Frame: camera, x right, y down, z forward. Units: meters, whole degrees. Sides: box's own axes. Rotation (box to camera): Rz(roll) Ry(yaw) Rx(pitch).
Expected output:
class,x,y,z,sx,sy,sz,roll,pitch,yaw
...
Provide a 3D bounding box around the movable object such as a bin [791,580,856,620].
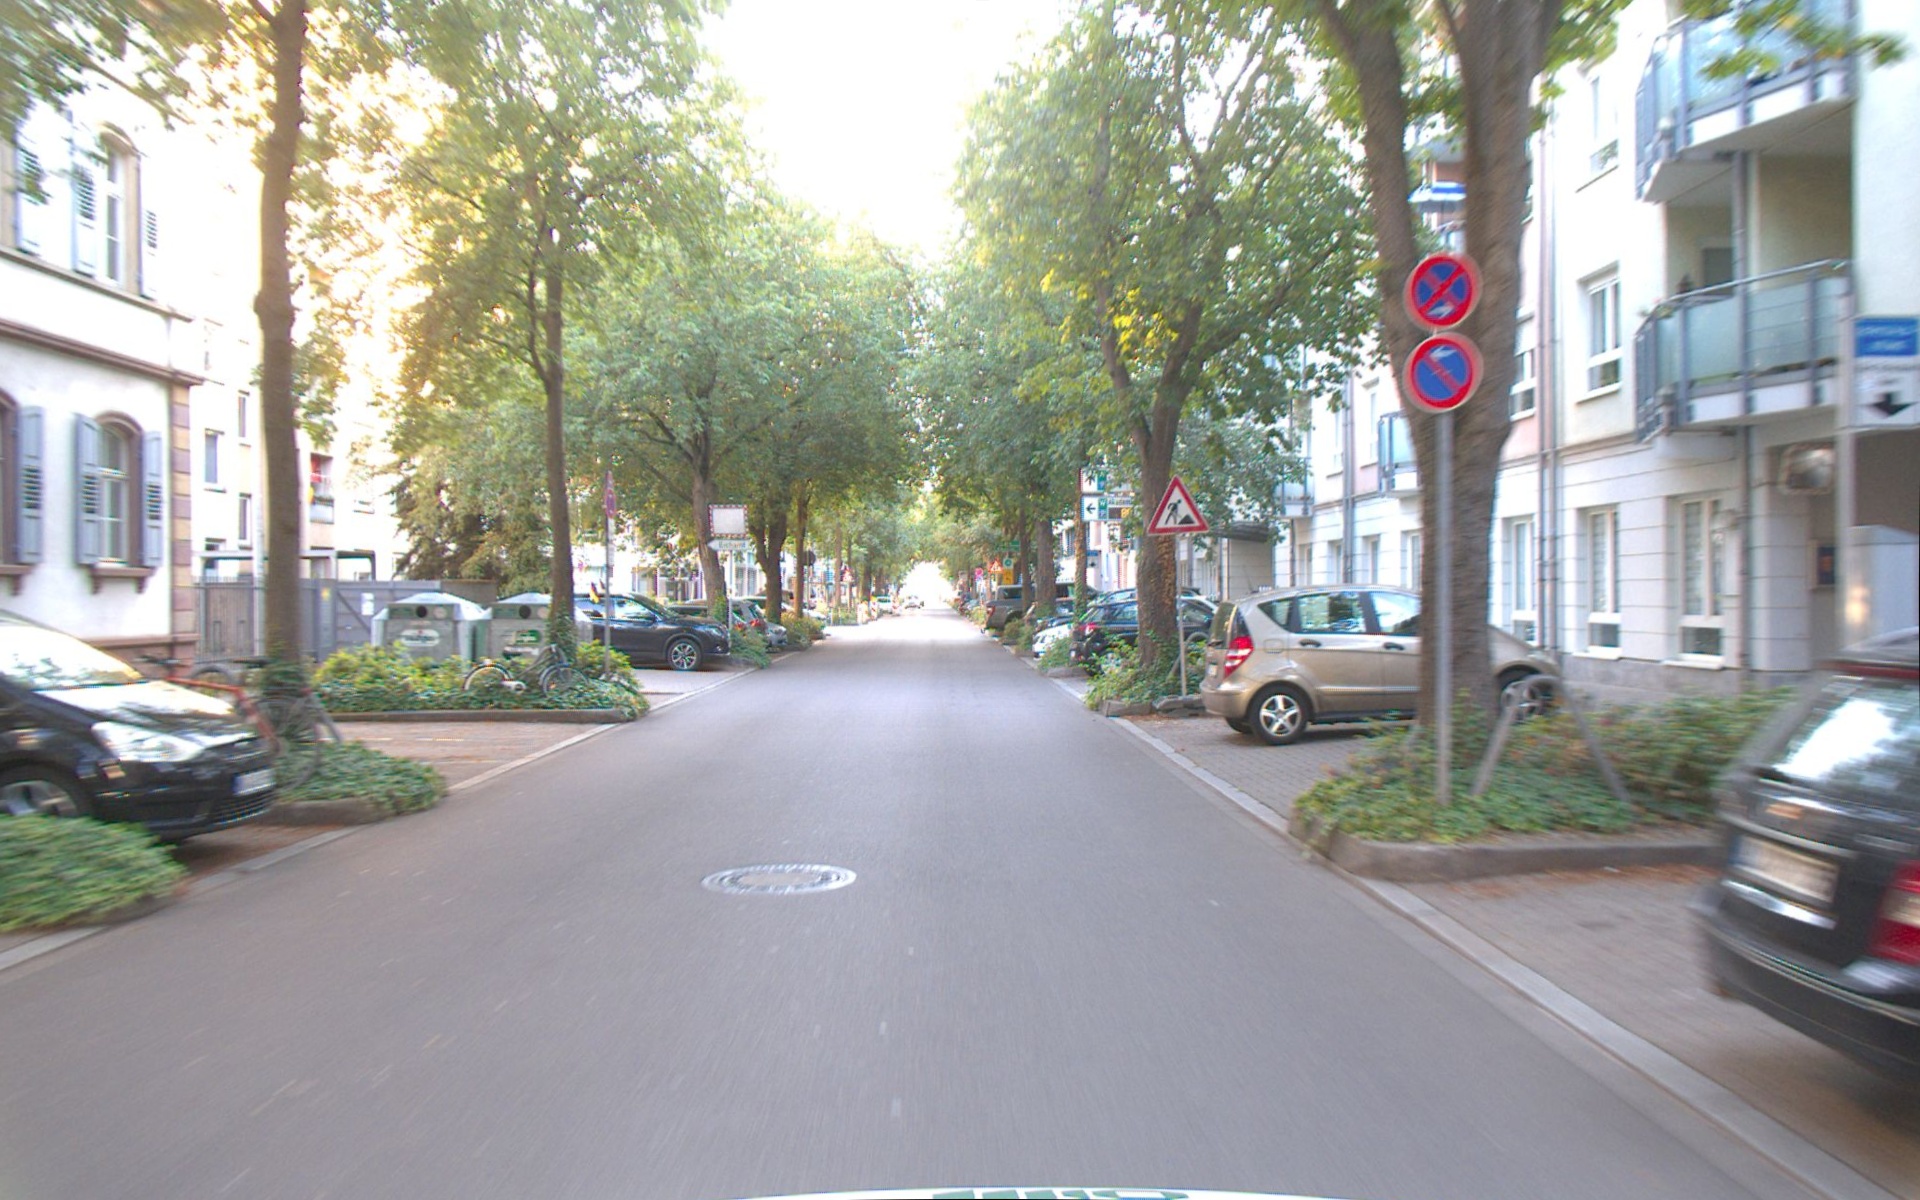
class,x,y,z,sx,sy,sz,roll,pitch,yaw
movable object such as a bin,-8.581,-0.029,103.617,3.969,2.425,2.780,-1,0,-7

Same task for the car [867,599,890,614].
class,x,y,z,sx,sy,sz,roll,pitch,yaw
car,-7.337,0.540,148.759,1.955,1.311,3.996,0,0,-5

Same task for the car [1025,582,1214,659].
class,x,y,z,sx,sy,sz,roll,pitch,yaw
car,4.123,0.511,43.184,4.553,1.645,2.008,-4,0,-5

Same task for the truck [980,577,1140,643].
class,x,y,z,sx,sy,sz,roll,pitch,yaw
truck,3.653,0.352,61.215,5.767,2.351,2.212,0,0,-1

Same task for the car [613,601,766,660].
class,x,y,z,sx,sy,sz,roll,pitch,yaw
car,-7.251,0.799,44.612,3.908,1.517,1.824,0,0,-4

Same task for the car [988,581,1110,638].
class,x,y,z,sx,sy,sz,roll,pitch,yaw
car,3.396,0.341,63.953,4.508,2.102,2.196,-1,0,-2

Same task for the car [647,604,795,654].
class,x,y,z,sx,sy,sz,roll,pitch,yaw
car,-7.158,0.861,49.907,4.200,1.455,1.879,0,0,-1

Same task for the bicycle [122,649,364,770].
class,x,y,z,sx,sy,sz,roll,pitch,yaw
bicycle,-5.273,0.798,12.213,1.520,0.845,0.613,0,0,2

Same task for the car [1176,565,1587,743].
class,x,y,z,sx,sy,sz,roll,pitch,yaw
car,4.464,0.550,17.943,3.889,1.613,1.916,-3,0,-2

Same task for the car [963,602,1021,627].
class,x,y,z,sx,sy,sz,roll,pitch,yaw
car,2.192,0.971,112.593,3.905,1.613,2.000,0,0,0

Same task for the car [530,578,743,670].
class,x,y,z,sx,sy,sz,roll,pitch,yaw
car,-7.166,0.523,37.012,4.415,1.989,1.999,0,0,-3

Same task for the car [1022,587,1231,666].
class,x,y,z,sx,sy,sz,roll,pitch,yaw
car,3.779,0.594,38.002,4.508,1.493,1.795,-3,0,-2

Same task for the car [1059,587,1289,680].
class,x,y,z,sx,sy,sz,roll,pitch,yaw
car,4.080,0.625,31.921,4.006,1.476,1.932,-4,0,-7

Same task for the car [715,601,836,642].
class,x,y,z,sx,sy,sz,roll,pitch,yaw
car,-7.308,0.846,65.783,4.523,1.579,2.075,0,0,1

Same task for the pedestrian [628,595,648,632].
class,x,y,z,sx,sy,sz,roll,pitch,yaw
pedestrian,-16.793,0.691,86.167,0.869,1.883,0.876,0,0,-1

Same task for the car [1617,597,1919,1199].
class,x,y,z,sx,sy,sz,roll,pitch,yaw
car,4.484,0.650,4.743,4.366,1.452,2.012,-3,0,3

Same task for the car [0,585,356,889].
class,x,y,z,sx,sy,sz,roll,pitch,yaw
car,-6.455,0.749,10.060,4.753,1.650,2.160,0,0,-1

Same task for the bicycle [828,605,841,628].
class,x,y,z,sx,sy,sz,roll,pitch,yaw
bicycle,-6.764,0.887,89.121,0.670,1.173,1.978,-1,0,-6

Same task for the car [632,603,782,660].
class,x,y,z,sx,sy,sz,roll,pitch,yaw
car,-7.201,0.886,47.278,3.903,1.593,1.930,0,0,4

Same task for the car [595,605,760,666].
class,x,y,z,sx,sy,sz,roll,pitch,yaw
car,-7.163,0.878,42.232,3.907,1.489,1.921,0,0,-3

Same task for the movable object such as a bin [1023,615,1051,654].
class,x,y,z,sx,sy,sz,roll,pitch,yaw
movable object such as a bin,2.281,1.020,49.007,0.745,1.103,0.785,-2,0,0

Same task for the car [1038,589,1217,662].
class,x,y,z,sx,sy,sz,roll,pitch,yaw
car,4.060,0.614,40.590,4.137,1.463,1.930,-4,0,1

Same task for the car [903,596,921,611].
class,x,y,z,sx,sy,sz,roll,pitch,yaw
car,-5.475,0.393,187.840,1.969,1.641,4.117,0,0,-2

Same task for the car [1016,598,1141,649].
class,x,y,z,sx,sy,sz,roll,pitch,yaw
car,3.671,0.716,51.594,3.700,1.571,1.876,0,0,-3
